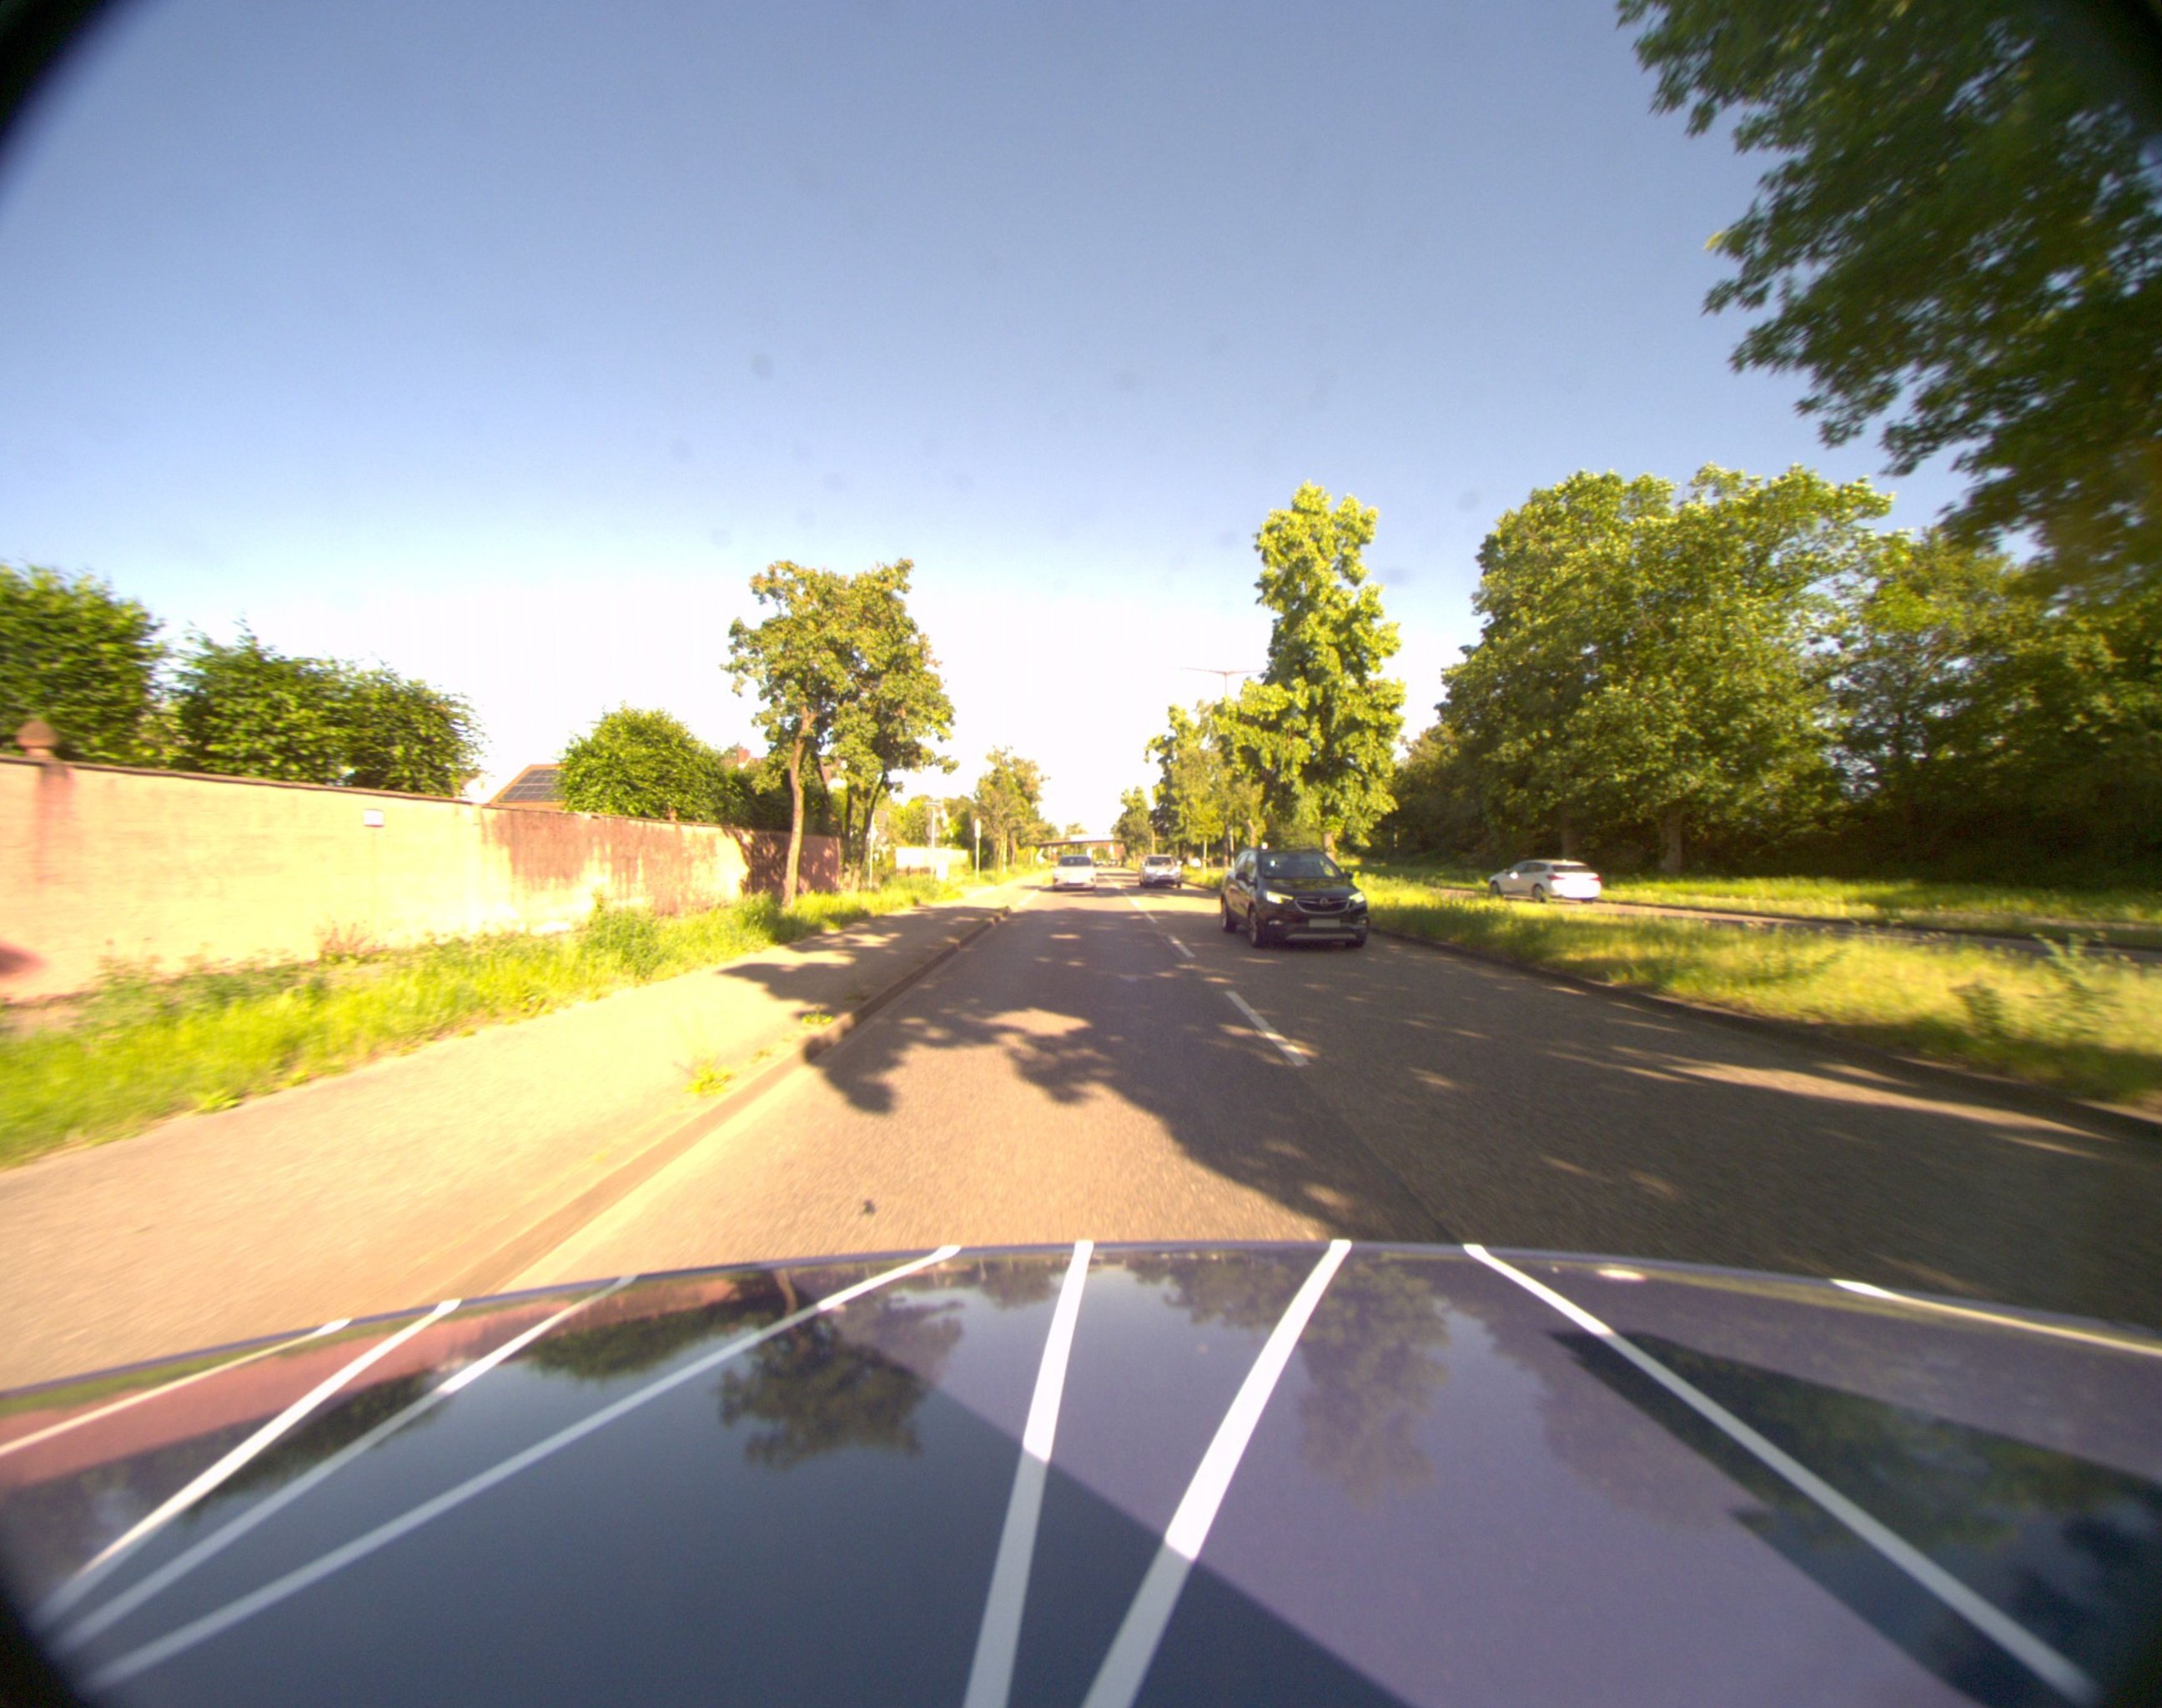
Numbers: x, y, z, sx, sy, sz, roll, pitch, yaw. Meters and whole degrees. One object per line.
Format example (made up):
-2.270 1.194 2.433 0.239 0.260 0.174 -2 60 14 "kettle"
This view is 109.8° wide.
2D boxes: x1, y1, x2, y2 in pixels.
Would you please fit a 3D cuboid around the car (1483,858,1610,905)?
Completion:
15.951 0.880 26.316 1.730 1.448 4.346 2 0 0 "car"

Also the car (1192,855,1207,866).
17.564 0.929 112.706 1.733 1.569 3.747 2 0 0 "car"

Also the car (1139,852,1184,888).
3.818 0.716 36.780 1.789 1.600 4.106 0 0 1 "car"

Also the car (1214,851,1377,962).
3.565 0.775 13.485 1.700 1.622 4.417 0 0 1 "car"

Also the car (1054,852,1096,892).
-0.216 0.758 34.190 1.766 1.606 4.296 0 1 1 "car"
